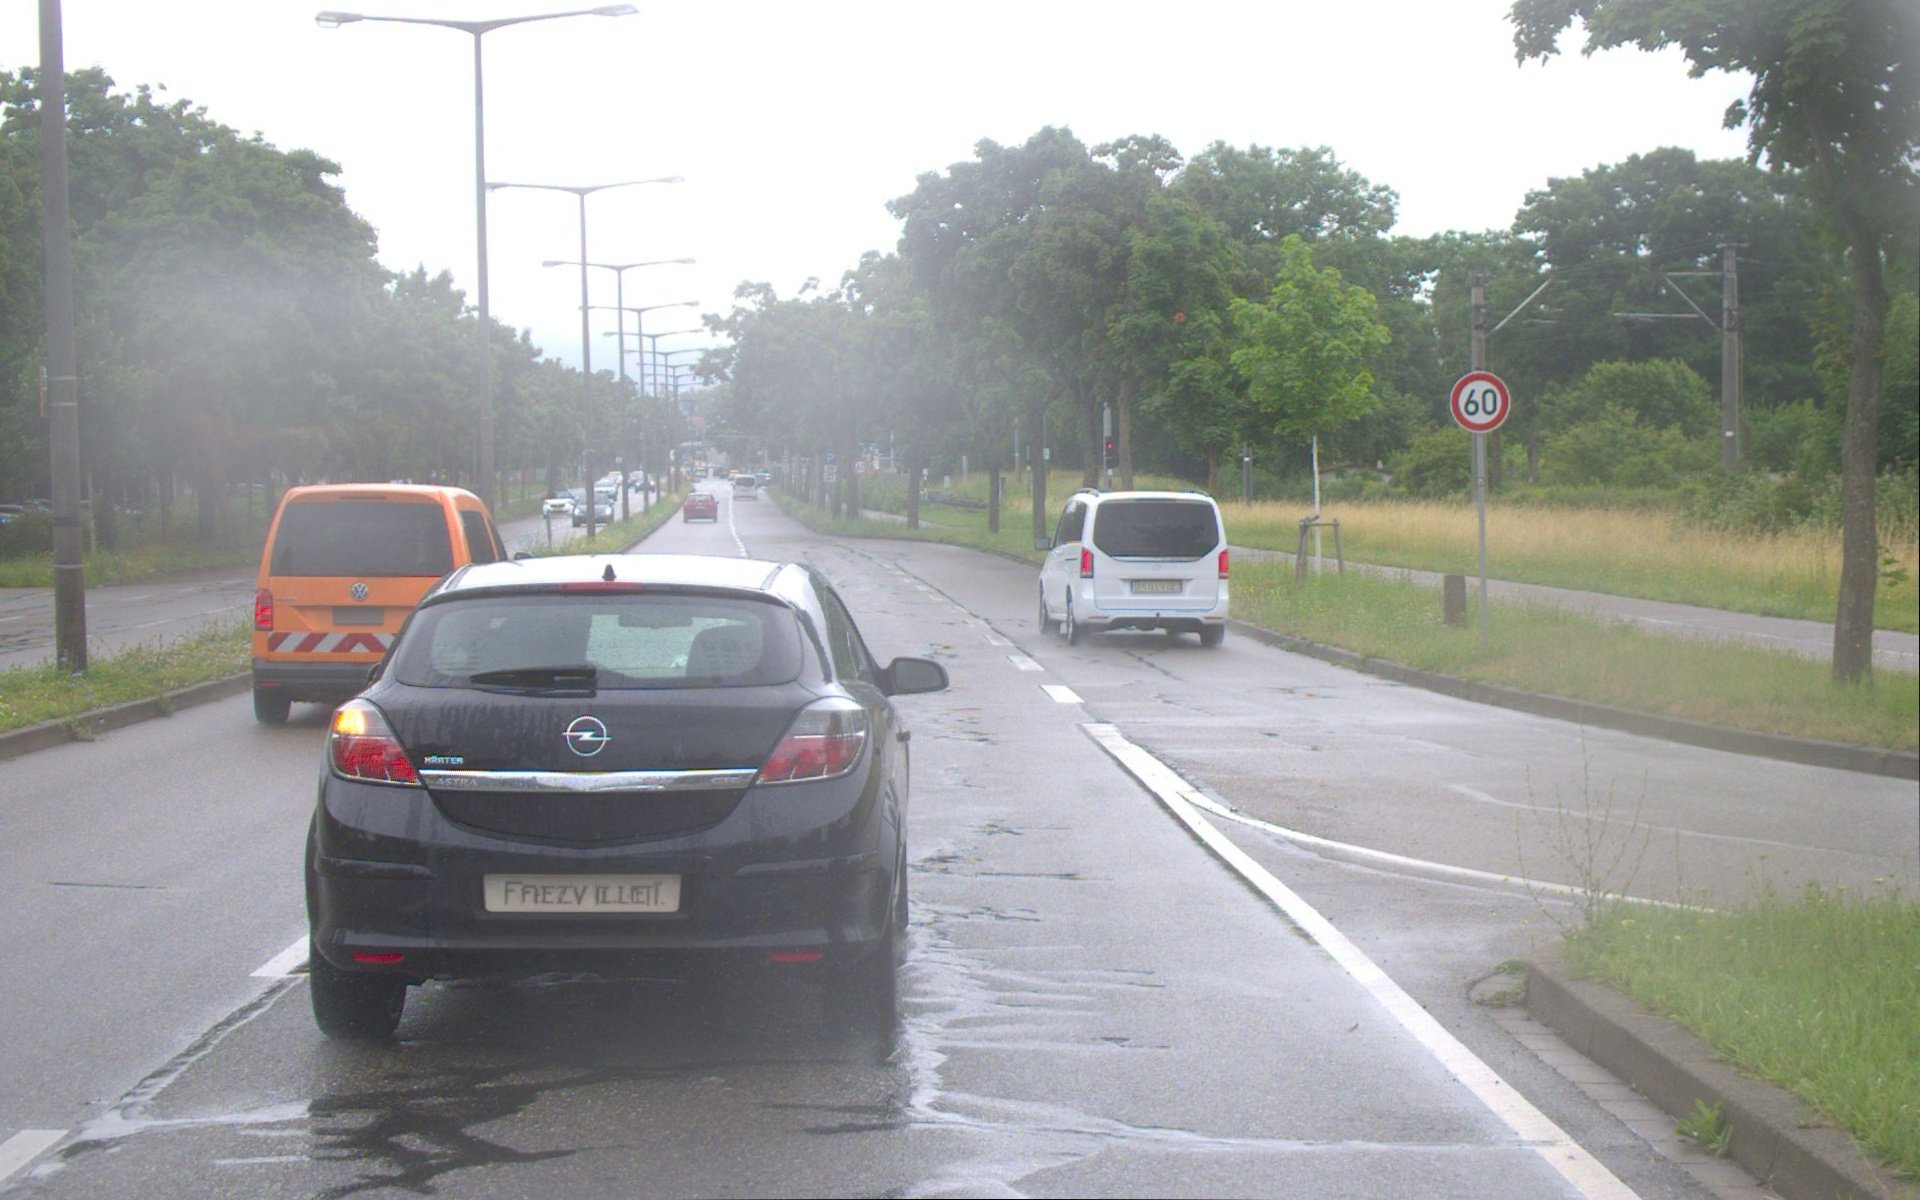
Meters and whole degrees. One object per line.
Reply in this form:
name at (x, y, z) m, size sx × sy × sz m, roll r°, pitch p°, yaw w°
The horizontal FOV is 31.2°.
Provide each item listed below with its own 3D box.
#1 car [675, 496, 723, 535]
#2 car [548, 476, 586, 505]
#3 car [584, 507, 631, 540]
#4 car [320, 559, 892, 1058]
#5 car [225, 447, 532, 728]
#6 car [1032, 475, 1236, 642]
car at (-12.640, -4.084, 166.848) m, size 1.993 × 1.873 × 4.000 m, roll 0°, pitch 1°, yaw 0°
car at (-21.539, -6.010, 188.512) m, size 1.720 × 1.524 × 3.810 m, roll -1°, pitch 3°, yaw -2°
car at (-15.881, -3.473, 154.898) m, size 1.827 × 1.445 × 3.809 m, roll -1°, pitch 2°, yaw -2°
car at (-1.000, 0.544, 11.210) m, size 1.463 × 1.324 × 3.758 m, roll 0°, pitch 1°, yaw 0°
car at (-4.482, -0.155, 27.152) m, size 1.734 × 2.012 × 4.850 m, roll 0°, pitch 2°, yaw -2°
car at (2.121, -0.542, 43.116) m, size 2.059 × 1.968 × 4.609 m, roll 0°, pitch 1°, yaw -3°
